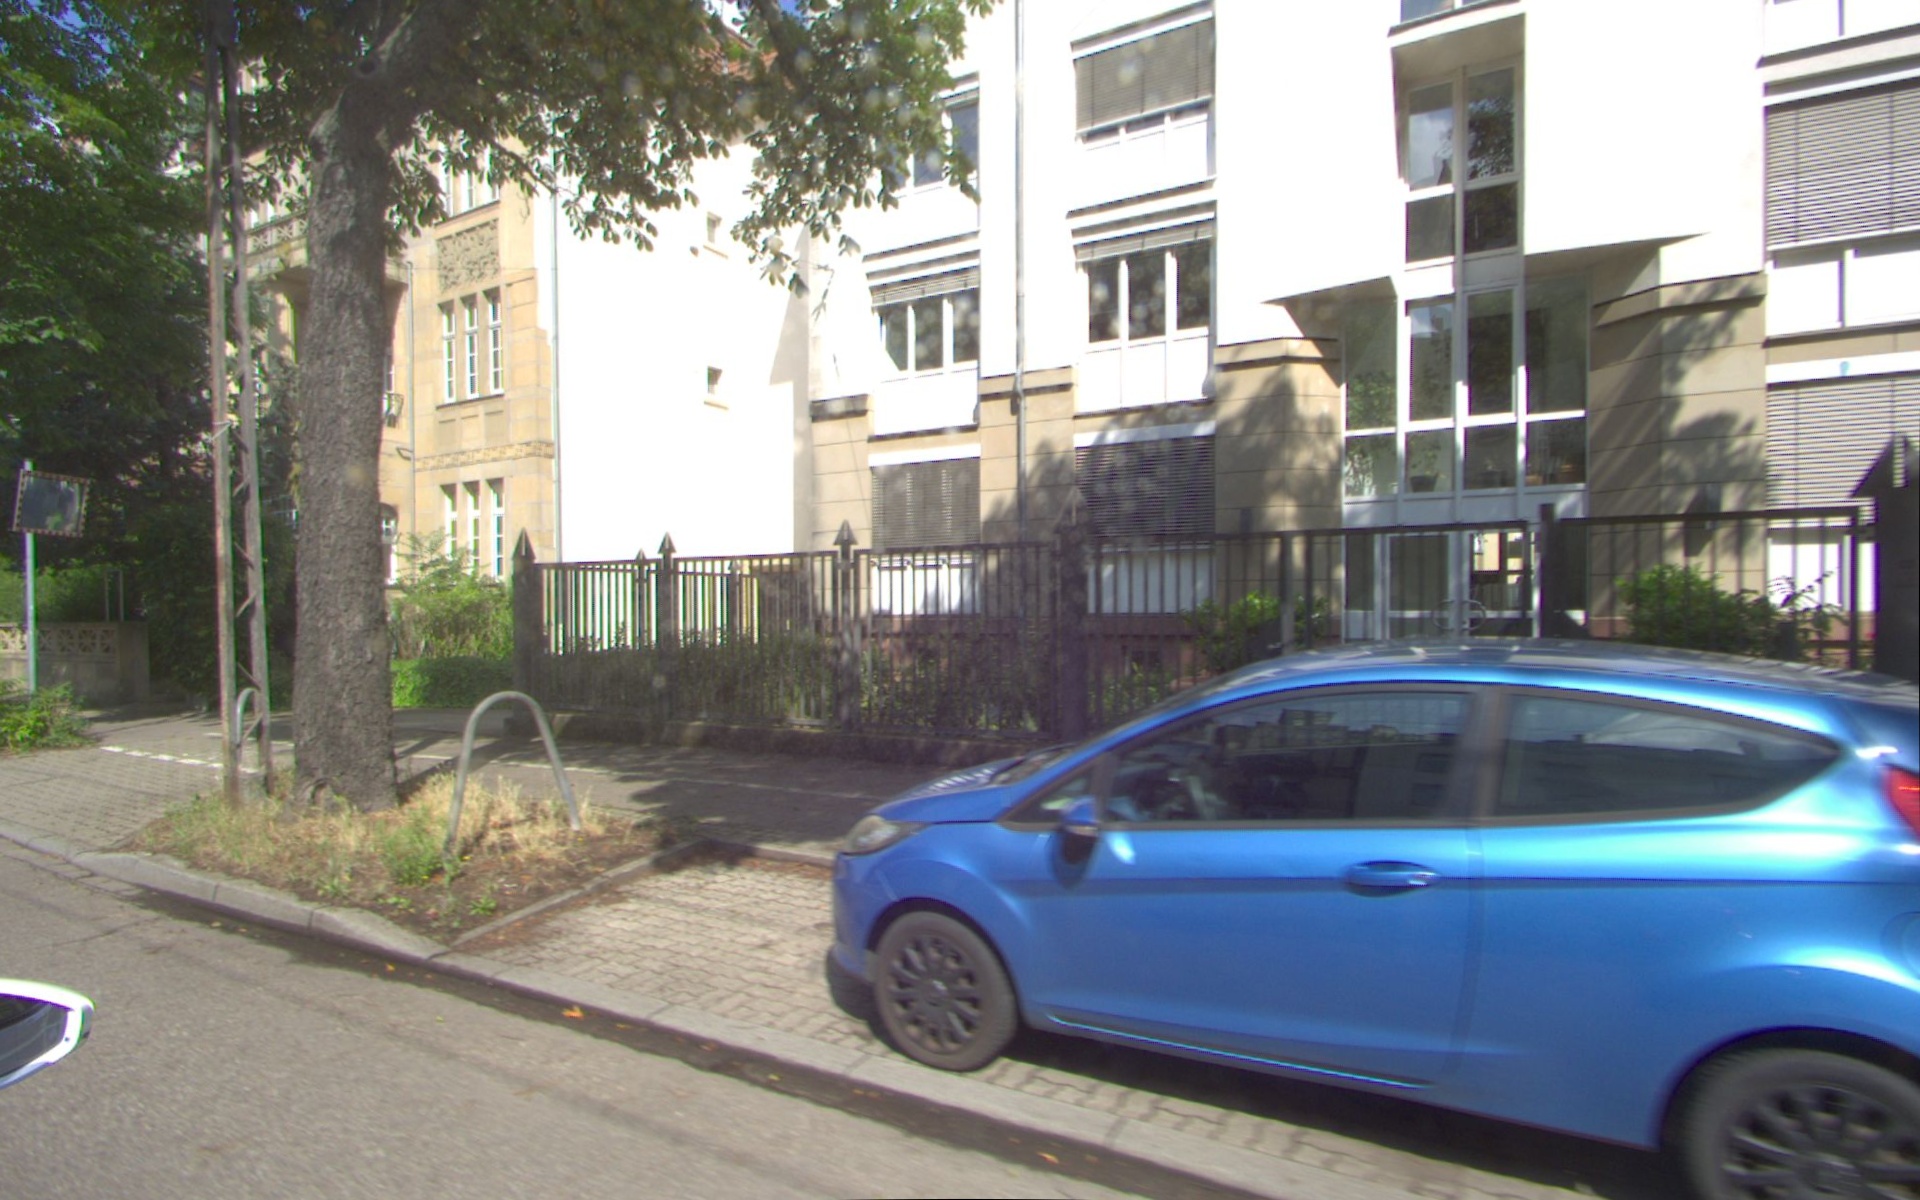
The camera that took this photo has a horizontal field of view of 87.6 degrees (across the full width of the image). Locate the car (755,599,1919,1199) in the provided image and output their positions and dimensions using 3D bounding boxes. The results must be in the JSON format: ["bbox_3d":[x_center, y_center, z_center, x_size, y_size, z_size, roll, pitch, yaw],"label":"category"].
[{"bbox_3d":[1.269,0.788,3.588,3.789,1.516,1.621,0,2,30],"label":"car"}]
